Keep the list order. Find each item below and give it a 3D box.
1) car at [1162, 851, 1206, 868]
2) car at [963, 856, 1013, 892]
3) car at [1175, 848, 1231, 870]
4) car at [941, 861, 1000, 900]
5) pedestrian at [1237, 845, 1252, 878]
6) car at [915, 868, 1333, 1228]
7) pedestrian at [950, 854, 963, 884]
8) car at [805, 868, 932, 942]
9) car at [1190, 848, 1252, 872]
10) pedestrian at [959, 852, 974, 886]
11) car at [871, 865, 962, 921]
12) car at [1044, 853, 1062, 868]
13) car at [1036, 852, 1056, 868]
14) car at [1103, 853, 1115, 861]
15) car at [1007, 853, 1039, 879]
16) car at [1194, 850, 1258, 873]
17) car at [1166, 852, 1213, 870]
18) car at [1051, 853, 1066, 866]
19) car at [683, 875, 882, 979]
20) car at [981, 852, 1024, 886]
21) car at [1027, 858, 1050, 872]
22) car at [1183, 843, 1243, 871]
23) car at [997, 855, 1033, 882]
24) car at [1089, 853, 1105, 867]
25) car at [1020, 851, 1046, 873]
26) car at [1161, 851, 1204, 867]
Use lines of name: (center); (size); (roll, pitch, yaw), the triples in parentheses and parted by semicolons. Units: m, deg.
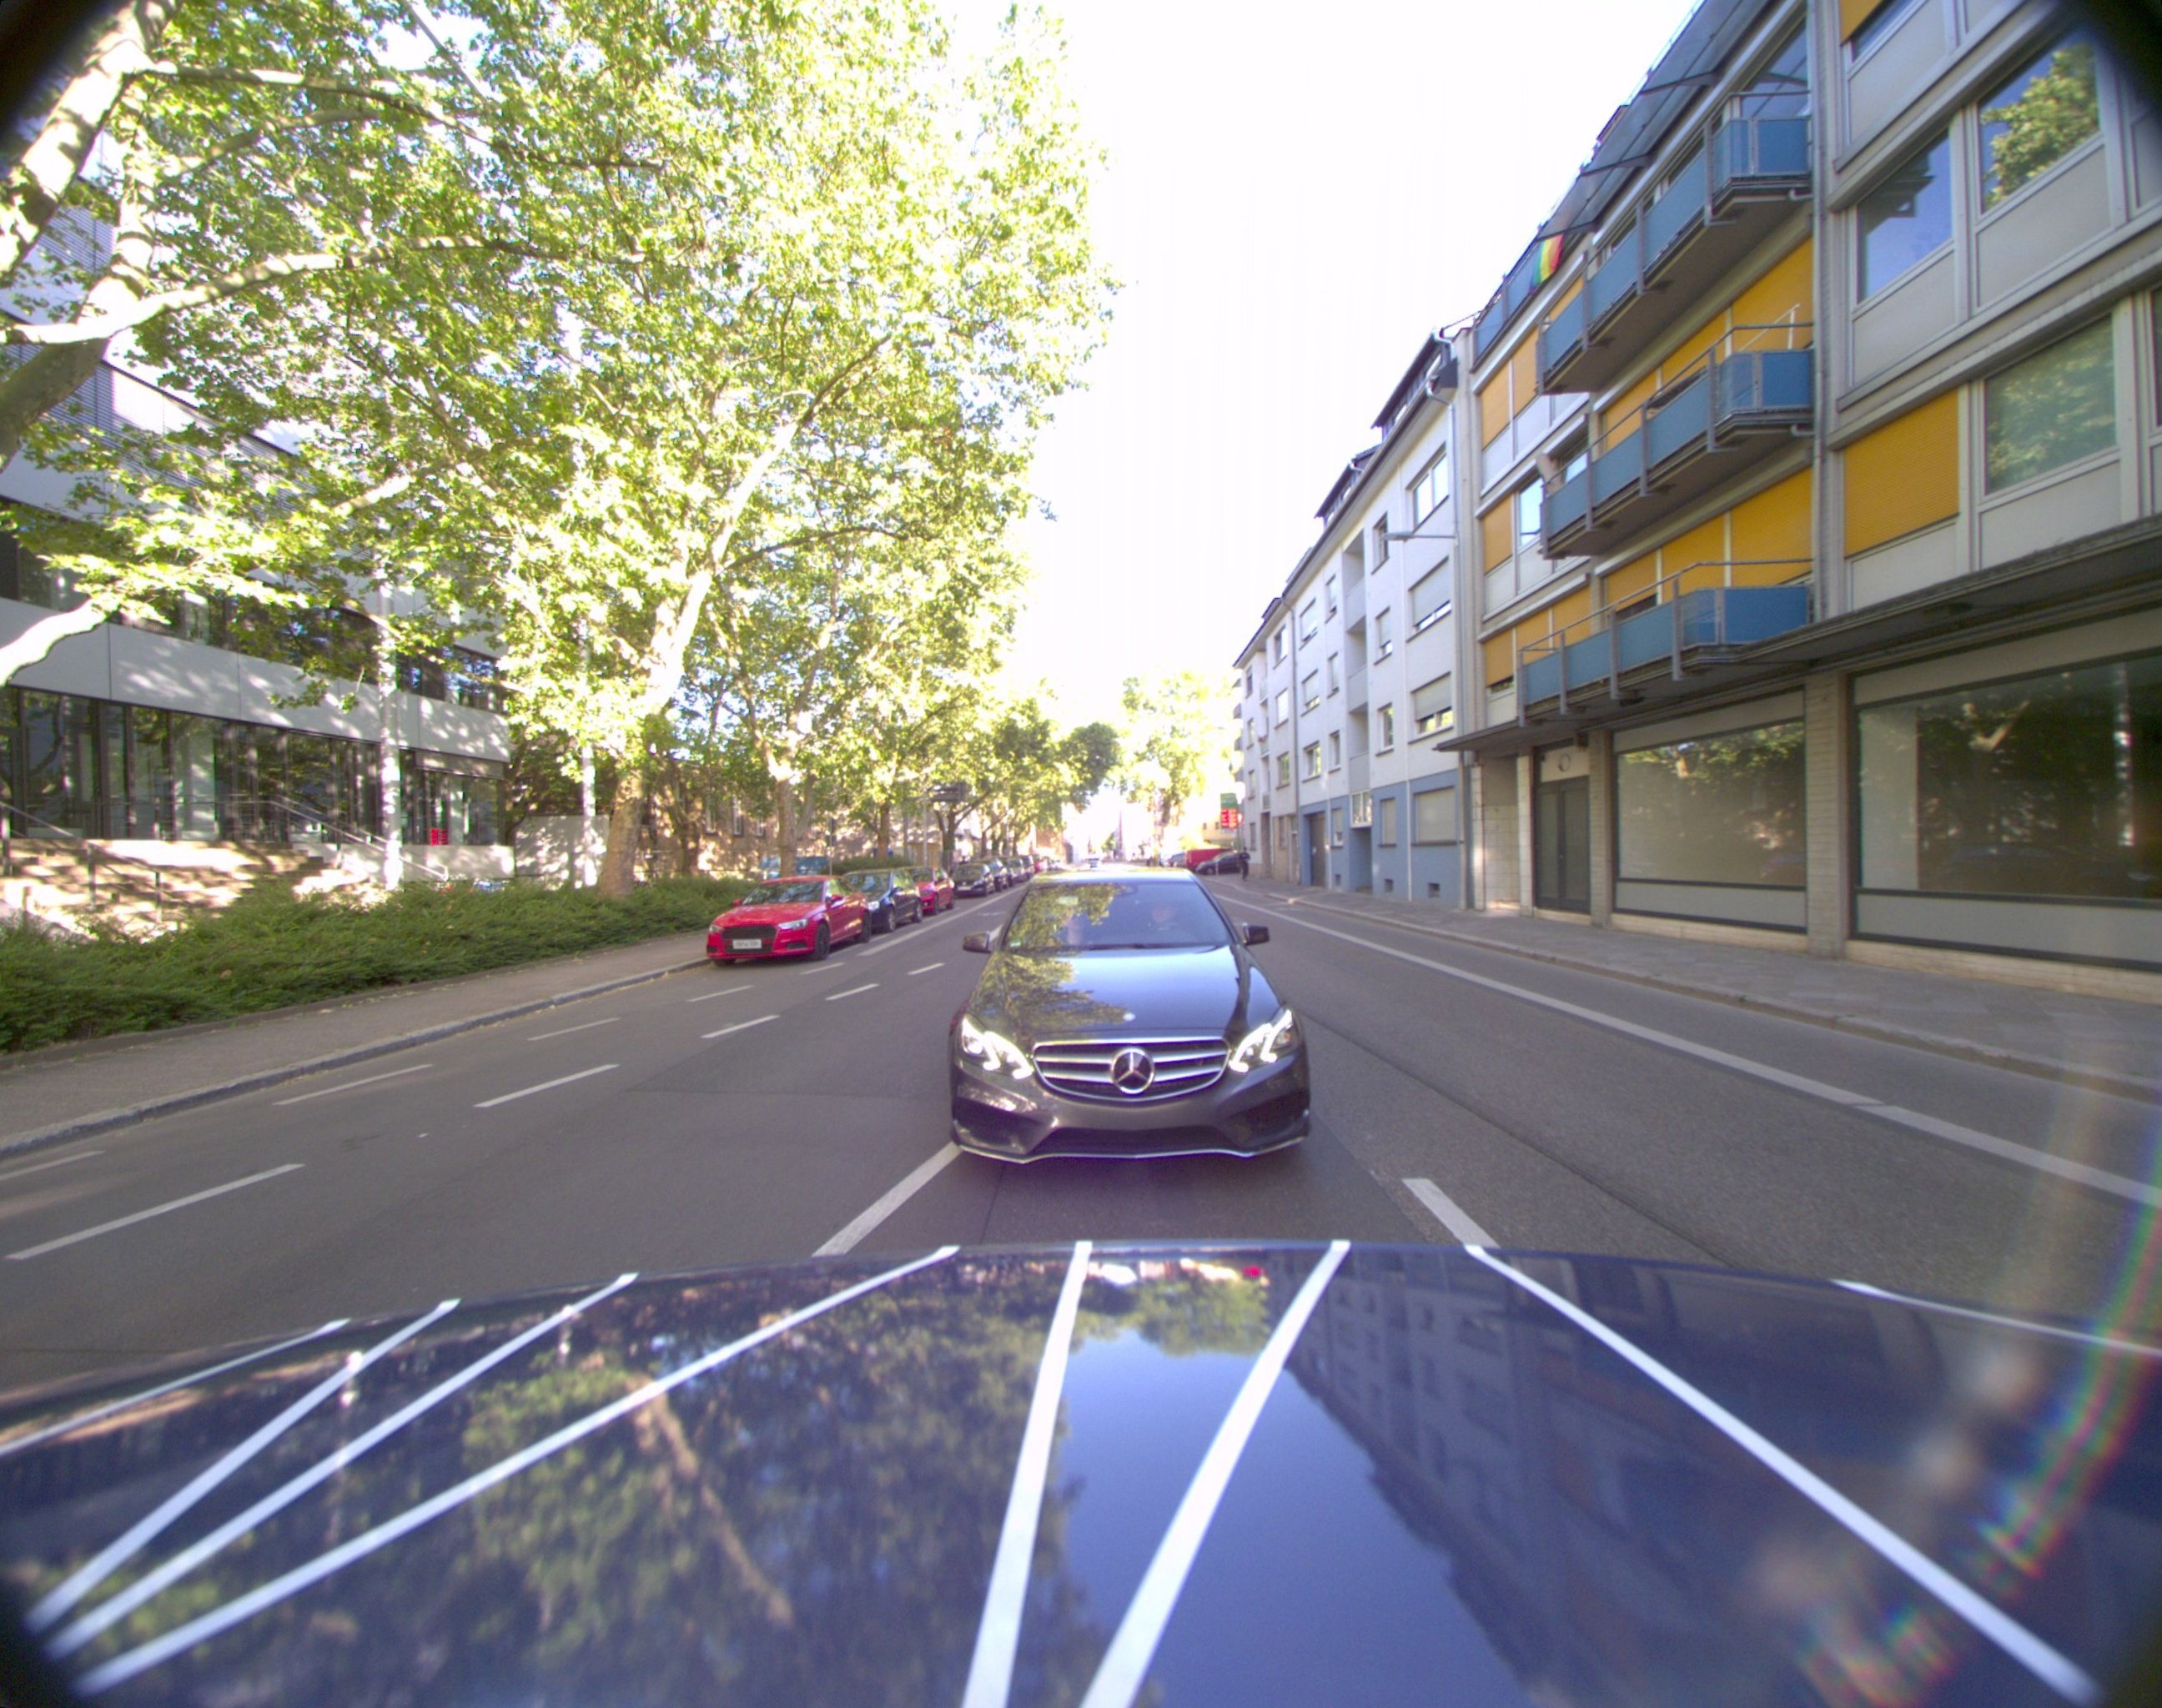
car: (10.604, 0.545, 78.653); (4.255, 1.461, 1.653); (-4, 0, 1)
car: (-4.596, 0.967, 38.078); (1.835, 1.596, 4.161); (-2, 0, 1)
car: (10.053, 0.411, 62.714); (4.255, 1.461, 1.653); (-4, 0, 1)
car: (-4.745, 1.106, 33.180); (1.835, 1.459, 4.168); (-2, 0, 1)
pedestrian: (8.333, 0.389, 38.792); (0.612, 1.685, 0.655); (-2, 1, 1)
car: (0.224, 0.919, 5.574); (1.849, 1.490, 4.302); (-1, 0, 1)
pedestrian: (-7.374, 0.884, 44.943); (0.601, 1.785, 0.593); (-2, 1, 0)
car: (-5.040, 1.152, 18.634); (1.835, 1.438, 4.168); (-2, 0, 1)
car: (10.485, 0.458, 57.052); (4.255, 1.461, 1.653); (-4, 0, 1)
pedestrian: (-6.262, 0.799, 41.441); (0.660, 1.849, 0.641); (-2, 1, 1)
car: (-5.042, 1.136, 23.844); (1.835, 1.459, 4.168); (-2, 0, 1)
car: (-3.410, 0.791, 92.846); (1.835, 1.667, 4.259); (-2, 0, 1)
car: (-3.938, 0.672, 86.230); (1.835, 1.667, 4.259); (-2, 0, 1)
car: (6.414, 0.760, 171.647); (1.996, 1.729, 4.004); (-1, 0, 13)
car: (-4.179, 0.815, 55.643); (1.835, 1.750, 4.259); (-2, 0, 1)
car: (10.400, 0.521, 54.751); (4.255, 1.392, 1.653); (-4, 0, 1)
car: (10.434, 0.677, 73.195); (4.255, 1.461, 1.653); (-4, 0, 1)
car: (-3.045, 0.690, 102.952); (1.835, 1.667, 4.259); (-2, 0, 1)
car: (-5.130, 1.179, 13.773); (1.835, 1.396, 4.247); (-2, 0, 1)
car: (-4.509, 0.825, 44.118); (1.835, 1.787, 4.463); (-2, 0, 1)
car: (-3.989, 1.030, 71.791); (1.835, 1.220, 4.259); (-2, 0, 1)
car: (10.416, 0.226, 60.132); (4.255, 1.907, 1.818); (-4, 0, 0)
car: (-4.337, 0.950, 50.611); (1.835, 1.604, 4.259); (-2, 0, 1)
car: (1.917, 0.710, 91.217); (1.726, 1.530, 4.000); (-1, 0, 1)
car: (-4.145, 0.685, 66.350); (1.835, 1.839, 4.259); (-2, 0, 1)
car: (10.775, 0.519, 80.618); (4.255, 1.461, 1.653); (-4, 0, 1)
